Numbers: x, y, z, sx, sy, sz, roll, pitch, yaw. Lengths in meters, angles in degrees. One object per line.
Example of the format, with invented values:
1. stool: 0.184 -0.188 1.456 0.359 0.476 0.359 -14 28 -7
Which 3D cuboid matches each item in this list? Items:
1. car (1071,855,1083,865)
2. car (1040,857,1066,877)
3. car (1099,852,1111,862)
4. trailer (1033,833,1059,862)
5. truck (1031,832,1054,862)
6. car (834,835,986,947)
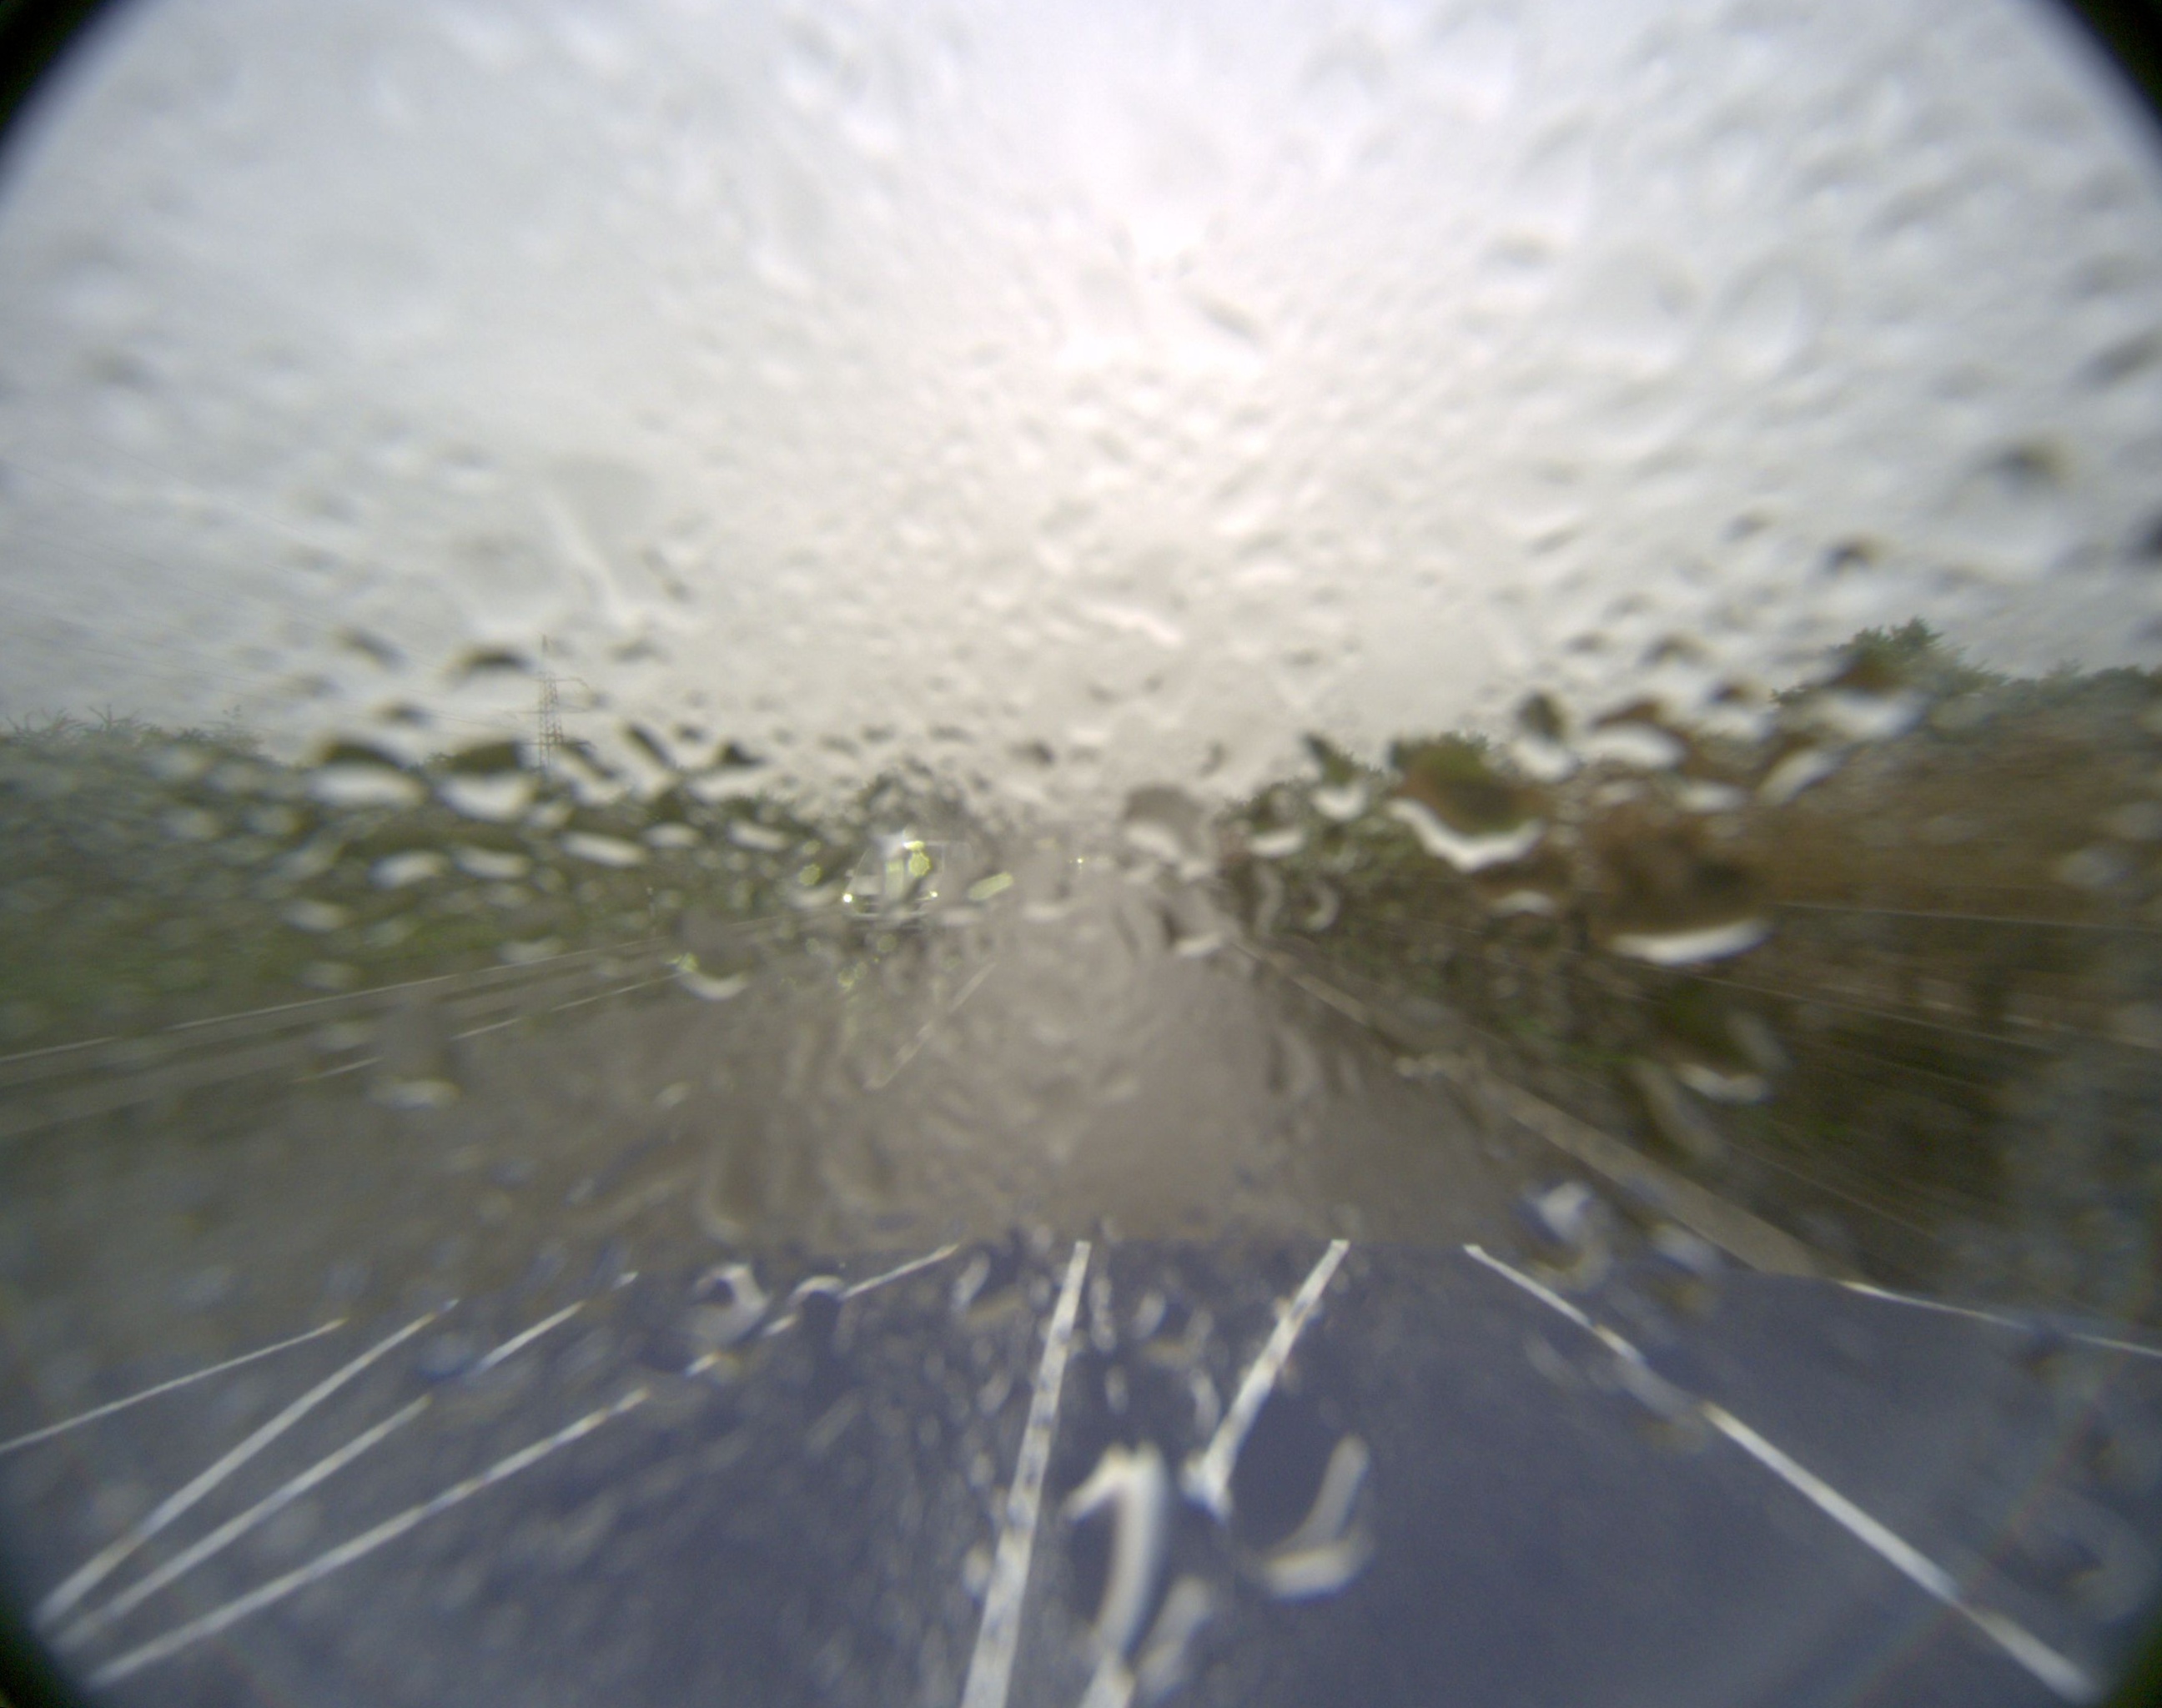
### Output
1. car: -0.631 0.966 126.639 1.769 1.448 3.959 -3 0 2
2. car: -2.274 1.050 62.162 1.769 1.448 3.959 -3 0 2
3. car: 3.820 0.485 120.760 1.769 1.448 3.959 -3 0 2
4. trailer: -5.223 -0.972 115.797 2.618 4.064 13.792 -3 0 2
5. truck: -5.488 -0.948 108.405 2.618 4.064 5.238 -3 0 2
6. car: -3.319 0.649 15.856 1.892 1.873 5.009 -3 0 1
